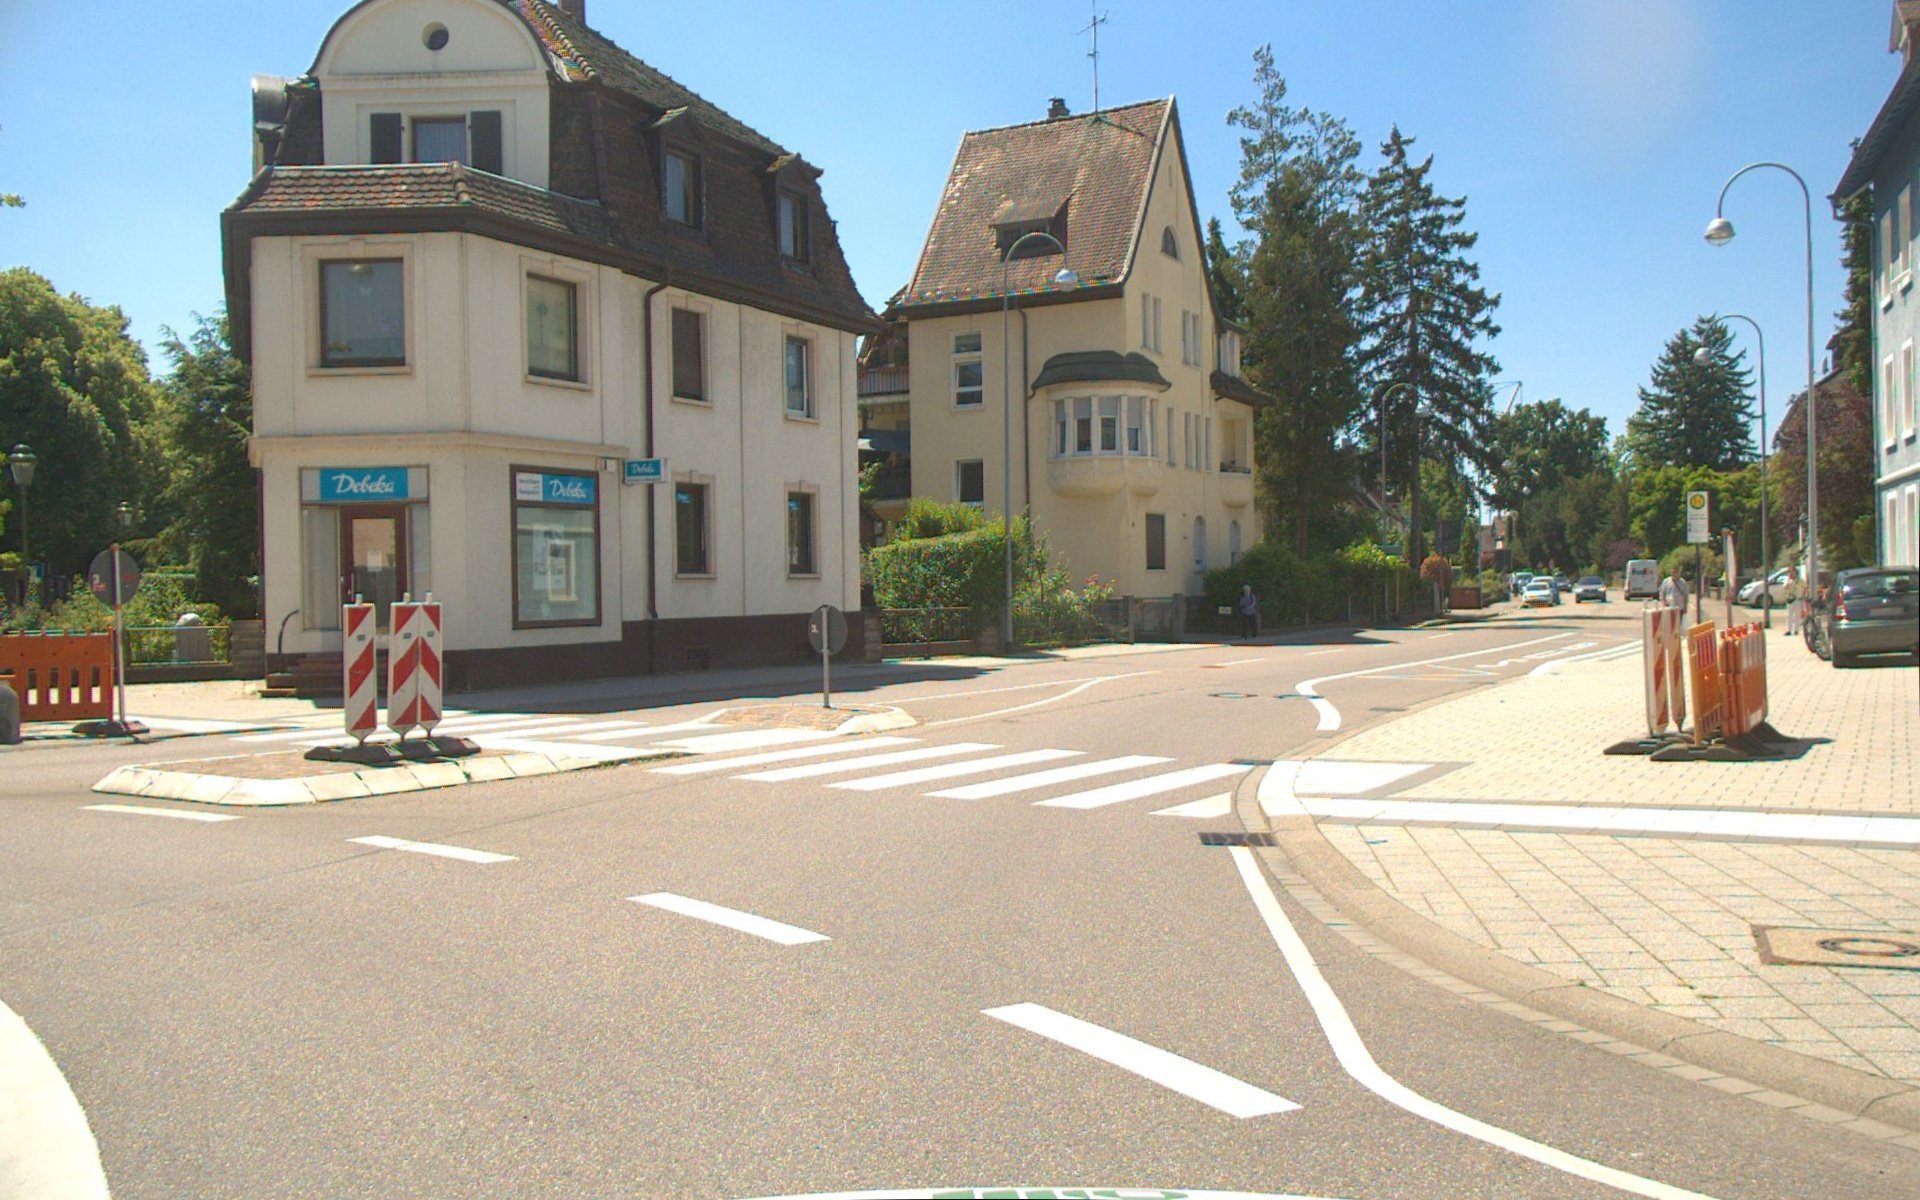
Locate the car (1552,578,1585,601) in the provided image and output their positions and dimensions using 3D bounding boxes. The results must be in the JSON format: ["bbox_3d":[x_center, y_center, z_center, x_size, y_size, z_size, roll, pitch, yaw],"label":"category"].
[{"bbox_3d":[54.791,-0.972,148.983,1.951,2.049,4.004,-1,0,9],"label":"car"}]

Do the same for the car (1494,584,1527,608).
[{"bbox_3d":[48.764,-0.349,146.512,1.951,2.049,4.003,-1,0,6],"label":"car"}]

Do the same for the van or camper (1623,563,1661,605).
[{"bbox_3d":[44.022,-1.026,106.805,2.160,2.656,4.000,-1,0,22],"label":"van or camper"}]

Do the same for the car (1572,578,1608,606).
[{"bbox_3d":[39.958,-0.492,104.893,1.953,1.747,3.999,-1,0,23],"label":"car"}]

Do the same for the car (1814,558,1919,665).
[{"bbox_3d":[14.990,0.150,26.912,1.607,1.533,3.563,-4,-1,23],"label":"car"}]

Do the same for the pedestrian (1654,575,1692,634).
[{"bbox_3d":[16.357,0.099,37.935,0.654,1.308,0.586,-5,-1,31],"label":"pedestrian"}]

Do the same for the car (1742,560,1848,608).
[{"bbox_3d":[36.768,-0.707,72.924,3.903,2.049,2.001,-1,0,18],"label":"car"}]

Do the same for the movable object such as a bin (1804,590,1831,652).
[{"bbox_3d":[16.244,0.399,31.334,0.278,1.143,1.181,-3,-1,34],"label":"movable object such as a bin"}]

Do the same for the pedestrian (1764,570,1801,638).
[{"bbox_3d":[20.217,0.095,40.658,0.654,1.621,0.586,-5,-1,31],"label":"pedestrian"}]

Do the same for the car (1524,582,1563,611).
[{"bbox_3d":[34.819,-0.217,98.635,1.953,1.680,4.000,-1,0,22],"label":"car"}]

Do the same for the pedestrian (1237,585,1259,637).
[{"bbox_3d":[8.549,0.313,49.092,0.513,1.535,0.472,-1,0,30],"label":"pedestrian"}]
